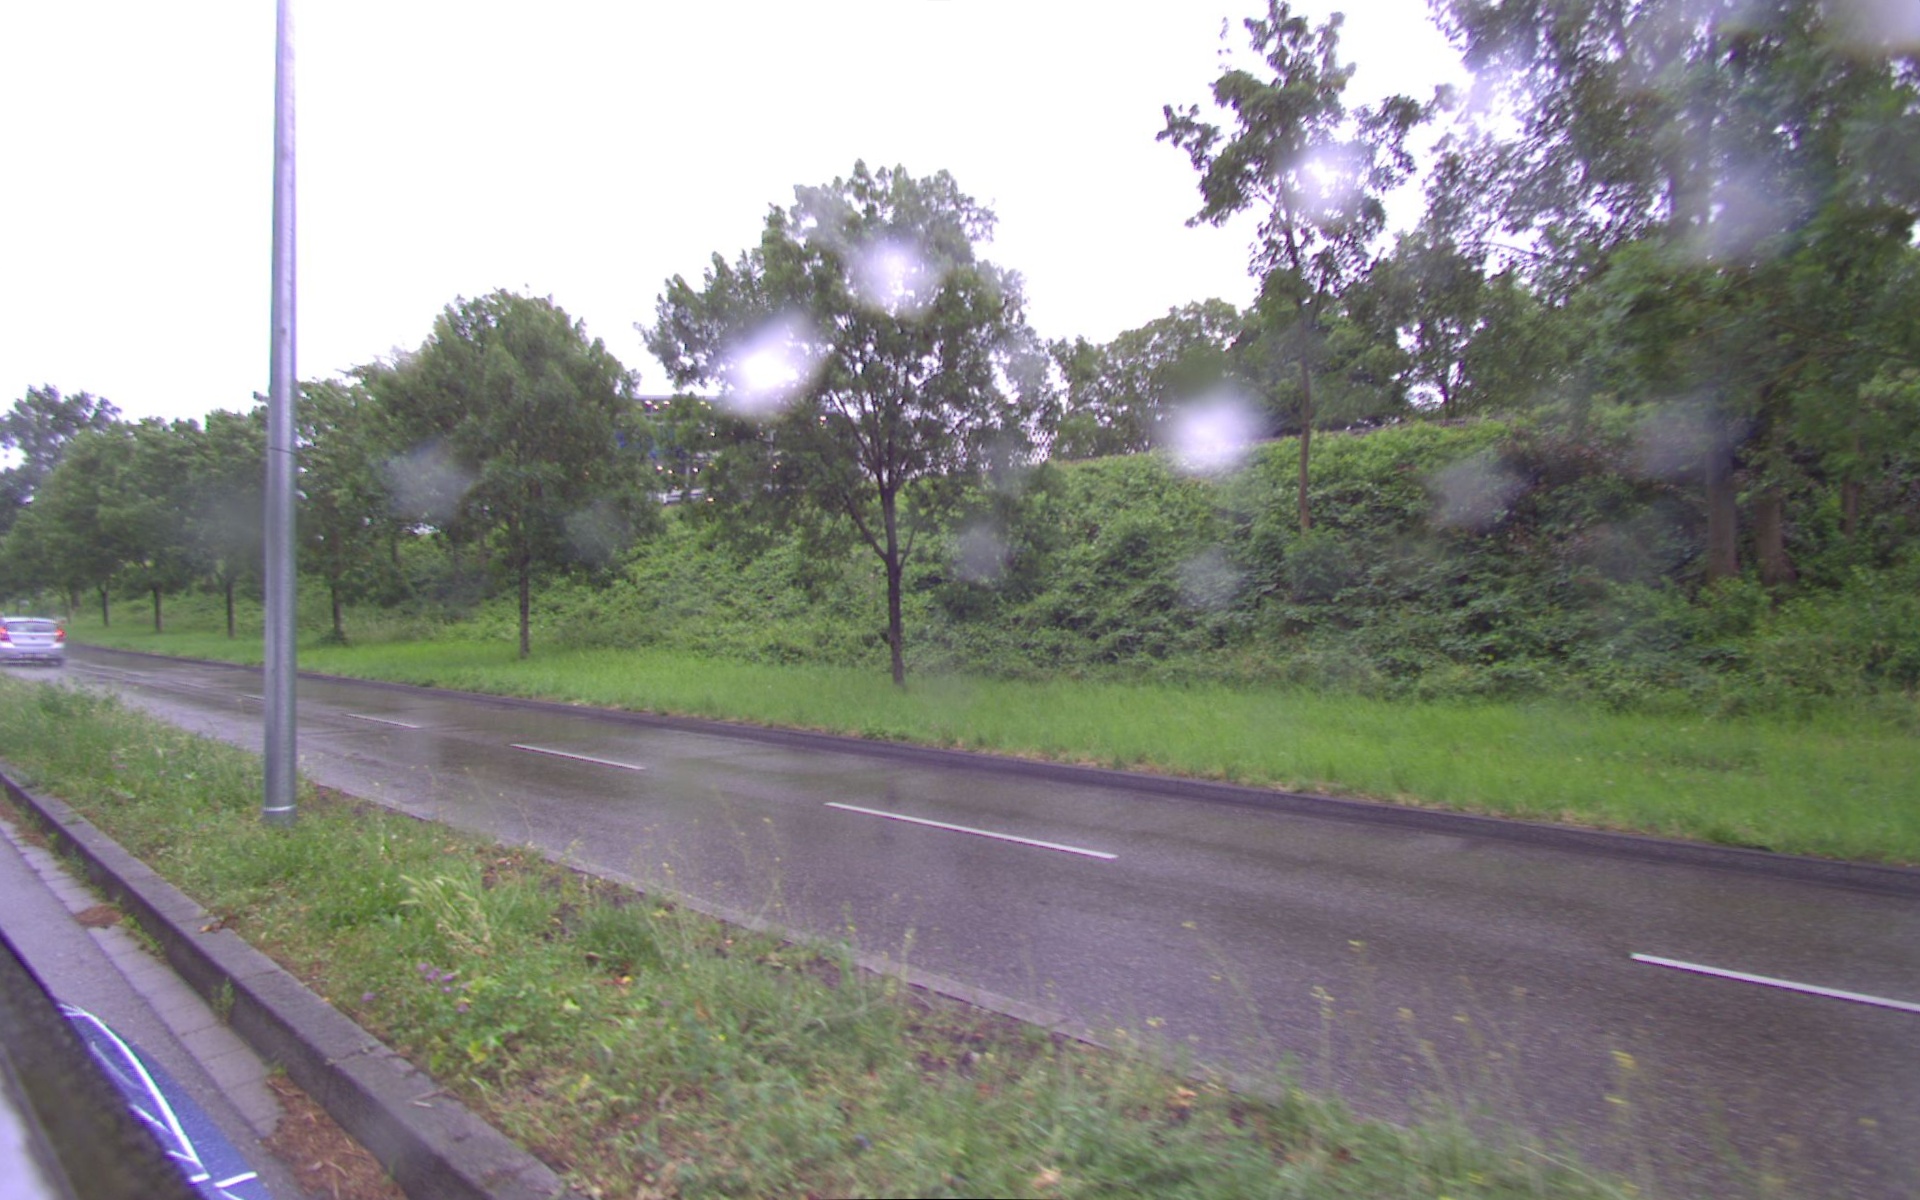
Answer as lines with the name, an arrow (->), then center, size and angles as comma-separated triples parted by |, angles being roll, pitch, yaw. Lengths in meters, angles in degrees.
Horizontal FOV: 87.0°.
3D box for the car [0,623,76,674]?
car -> -29.024, 1.469, 31.388 | 3.997, 1.474, 1.797 | -1, -4, 41
